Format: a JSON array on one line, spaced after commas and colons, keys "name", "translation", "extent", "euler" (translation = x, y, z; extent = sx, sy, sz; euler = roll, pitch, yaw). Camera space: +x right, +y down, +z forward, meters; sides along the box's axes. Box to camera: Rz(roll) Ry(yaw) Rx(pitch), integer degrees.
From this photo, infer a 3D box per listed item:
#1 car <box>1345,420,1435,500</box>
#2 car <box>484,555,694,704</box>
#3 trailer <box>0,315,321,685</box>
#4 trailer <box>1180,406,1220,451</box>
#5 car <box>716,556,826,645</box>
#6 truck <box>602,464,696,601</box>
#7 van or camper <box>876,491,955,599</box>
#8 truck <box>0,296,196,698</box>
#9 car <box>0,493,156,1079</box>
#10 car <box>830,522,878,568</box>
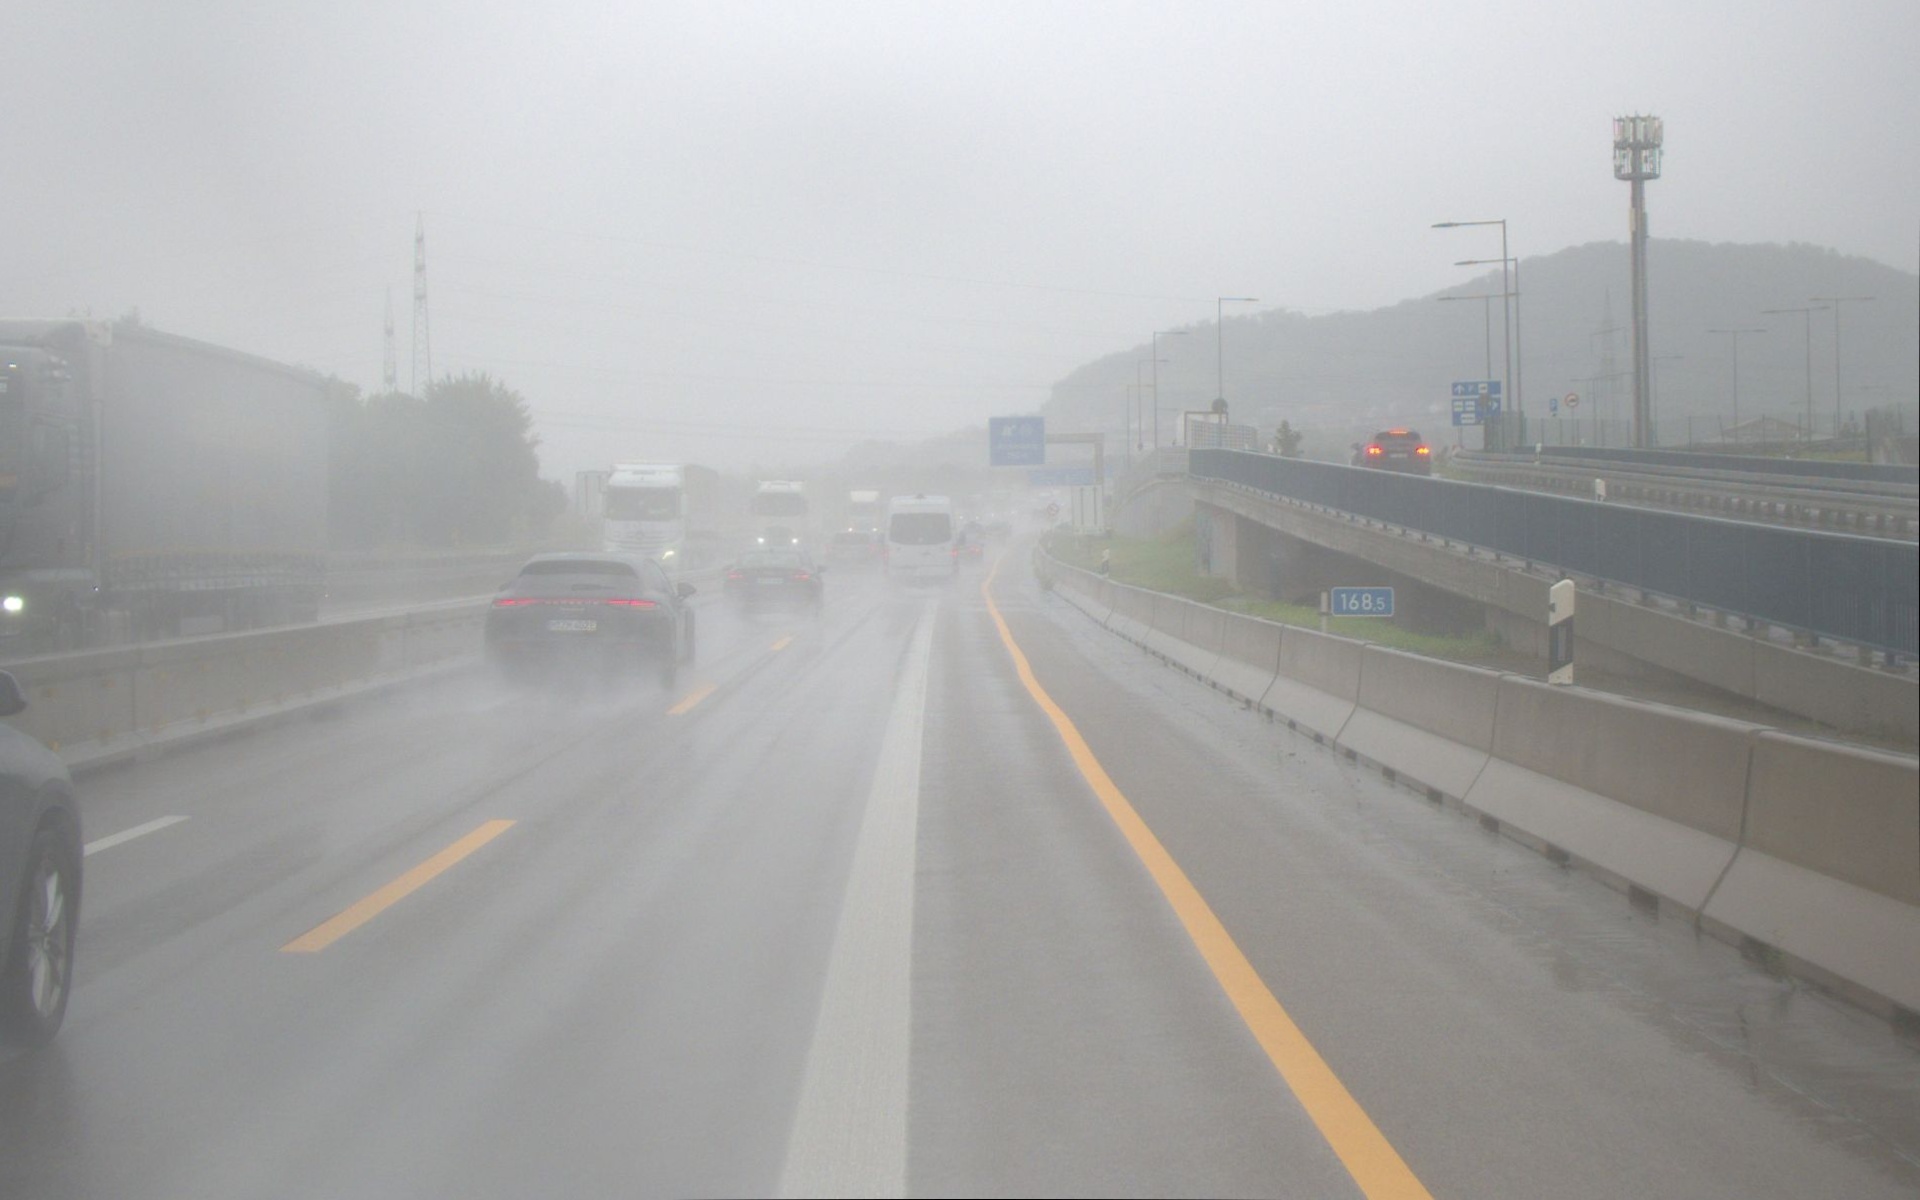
[{"name": "car", "translation": [12.311, -4.008, 98.680], "extent": [1.993, 2.135, 4.000], "euler": [1, 0, -1]}, {"name": "car", "translation": [-3.895, 0.285, 36.711], "extent": [1.844, 1.486, 4.262], "euler": [1, 0, -1]}, {"name": "trailer", "translation": [-10.673, -1.149, 44.311], "extent": [2.650, 4.095, 12.315], "euler": [1, 0, 0]}, {"name": "trailer", "translation": [14.615, -10.427, 209.753], "extent": [1.994, 2.099, 13.767], "euler": [1, 0, 2]}, {"name": "car", "translation": [-3.509, -0.017, 64.471], "extent": [1.844, 1.486, 4.262], "euler": [-2, 2, -1]}, {"name": "truck", "translation": [-10.358, -2.212, 115.079], "extent": [2.502, 4.447, 6.881], "euler": [1, 0, 0]}, {"name": "van or camper", "translation": [-1.178, -1.422, 90.208], "extent": [1.996, 2.768, 4.050], "euler": [1, 0, -1]}, {"name": "truck", "translation": [-10.632, -1.085, 38.536], "extent": [2.642, 4.113, 6.696], "euler": [1, 0, 0]}, {"name": "car", "translation": [-3.443, 0.507, 8.841], "extent": [1.701, 1.592, 4.845], "euler": [0, 1, -1]}, {"name": "car", "translation": [-3.628, -1.891, 117.906], "extent": [1.566, 1.475, 2.822], "euler": [-2, 0, -1]}]
